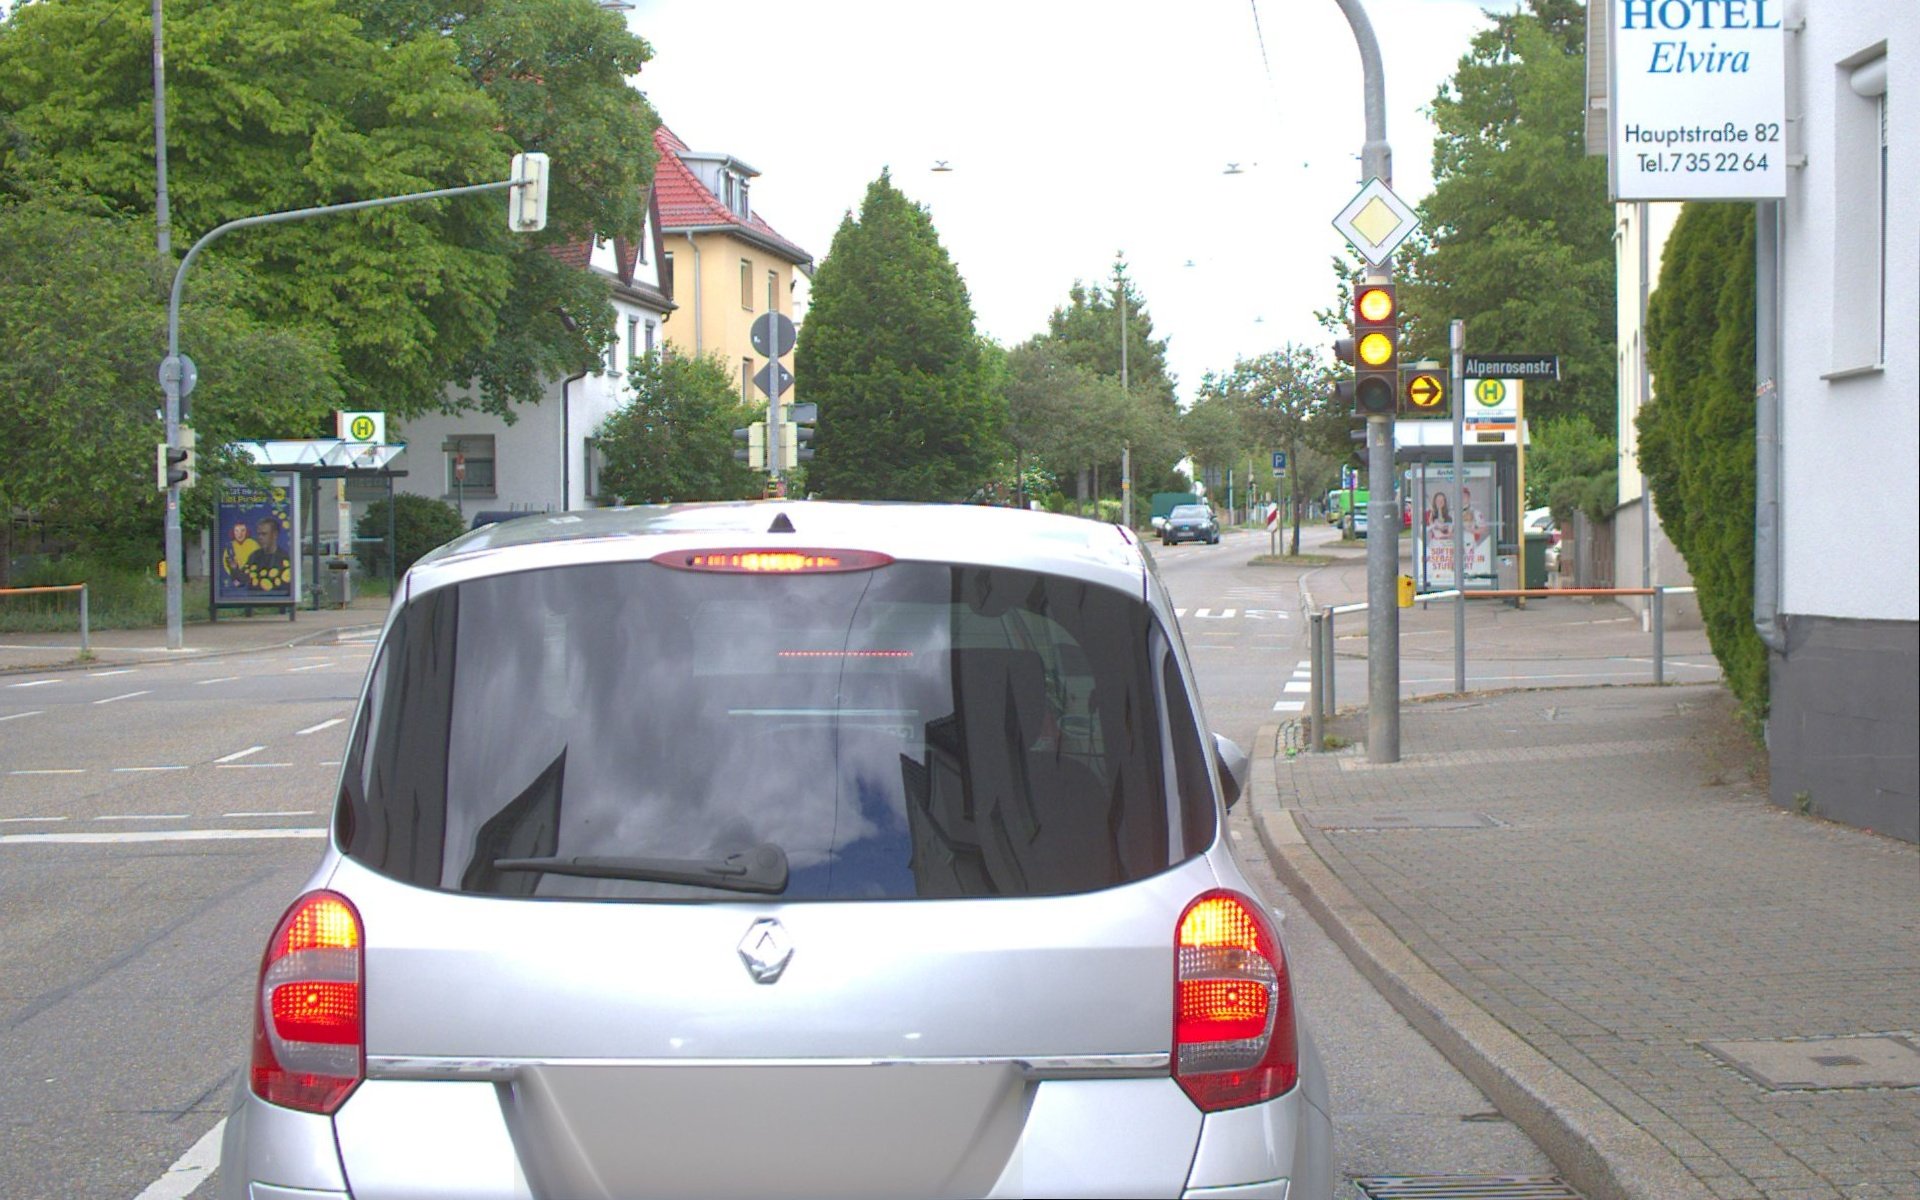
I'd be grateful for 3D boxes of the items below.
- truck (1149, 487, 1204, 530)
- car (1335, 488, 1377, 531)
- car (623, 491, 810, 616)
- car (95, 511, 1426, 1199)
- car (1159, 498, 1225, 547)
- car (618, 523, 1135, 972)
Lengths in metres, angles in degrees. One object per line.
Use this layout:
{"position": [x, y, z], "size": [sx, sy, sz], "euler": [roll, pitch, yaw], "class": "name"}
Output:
{"position": [10.501, -4.433, 166.507], "size": [2.102, 2.007, 5.745], "euler": [1, 1, 9], "class": "truck"}
{"position": [24.077, -5.486, 208.837], "size": [2.060, 2.503, 5.593], "euler": [1, 1, 11], "class": "car"}
{"position": [-3.783, -0.749, 54.193], "size": [1.927, 1.767, 3.999], "euler": [-4, 1, 10], "class": "car"}
{"position": [-0.301, 0.620, 6.554], "size": [1.755, 1.525, 4.000], "euler": [0, 1, -1], "class": "car"}
{"position": [8.384, -2.785, 123.914], "size": [1.858, 1.742, 3.998], "euler": [1, 1, 11], "class": "car"}
{"position": [-0.319, 0.476, 13.636], "size": [1.755, 1.525, 3.797], "euler": [0, 1, -1], "class": "car"}
